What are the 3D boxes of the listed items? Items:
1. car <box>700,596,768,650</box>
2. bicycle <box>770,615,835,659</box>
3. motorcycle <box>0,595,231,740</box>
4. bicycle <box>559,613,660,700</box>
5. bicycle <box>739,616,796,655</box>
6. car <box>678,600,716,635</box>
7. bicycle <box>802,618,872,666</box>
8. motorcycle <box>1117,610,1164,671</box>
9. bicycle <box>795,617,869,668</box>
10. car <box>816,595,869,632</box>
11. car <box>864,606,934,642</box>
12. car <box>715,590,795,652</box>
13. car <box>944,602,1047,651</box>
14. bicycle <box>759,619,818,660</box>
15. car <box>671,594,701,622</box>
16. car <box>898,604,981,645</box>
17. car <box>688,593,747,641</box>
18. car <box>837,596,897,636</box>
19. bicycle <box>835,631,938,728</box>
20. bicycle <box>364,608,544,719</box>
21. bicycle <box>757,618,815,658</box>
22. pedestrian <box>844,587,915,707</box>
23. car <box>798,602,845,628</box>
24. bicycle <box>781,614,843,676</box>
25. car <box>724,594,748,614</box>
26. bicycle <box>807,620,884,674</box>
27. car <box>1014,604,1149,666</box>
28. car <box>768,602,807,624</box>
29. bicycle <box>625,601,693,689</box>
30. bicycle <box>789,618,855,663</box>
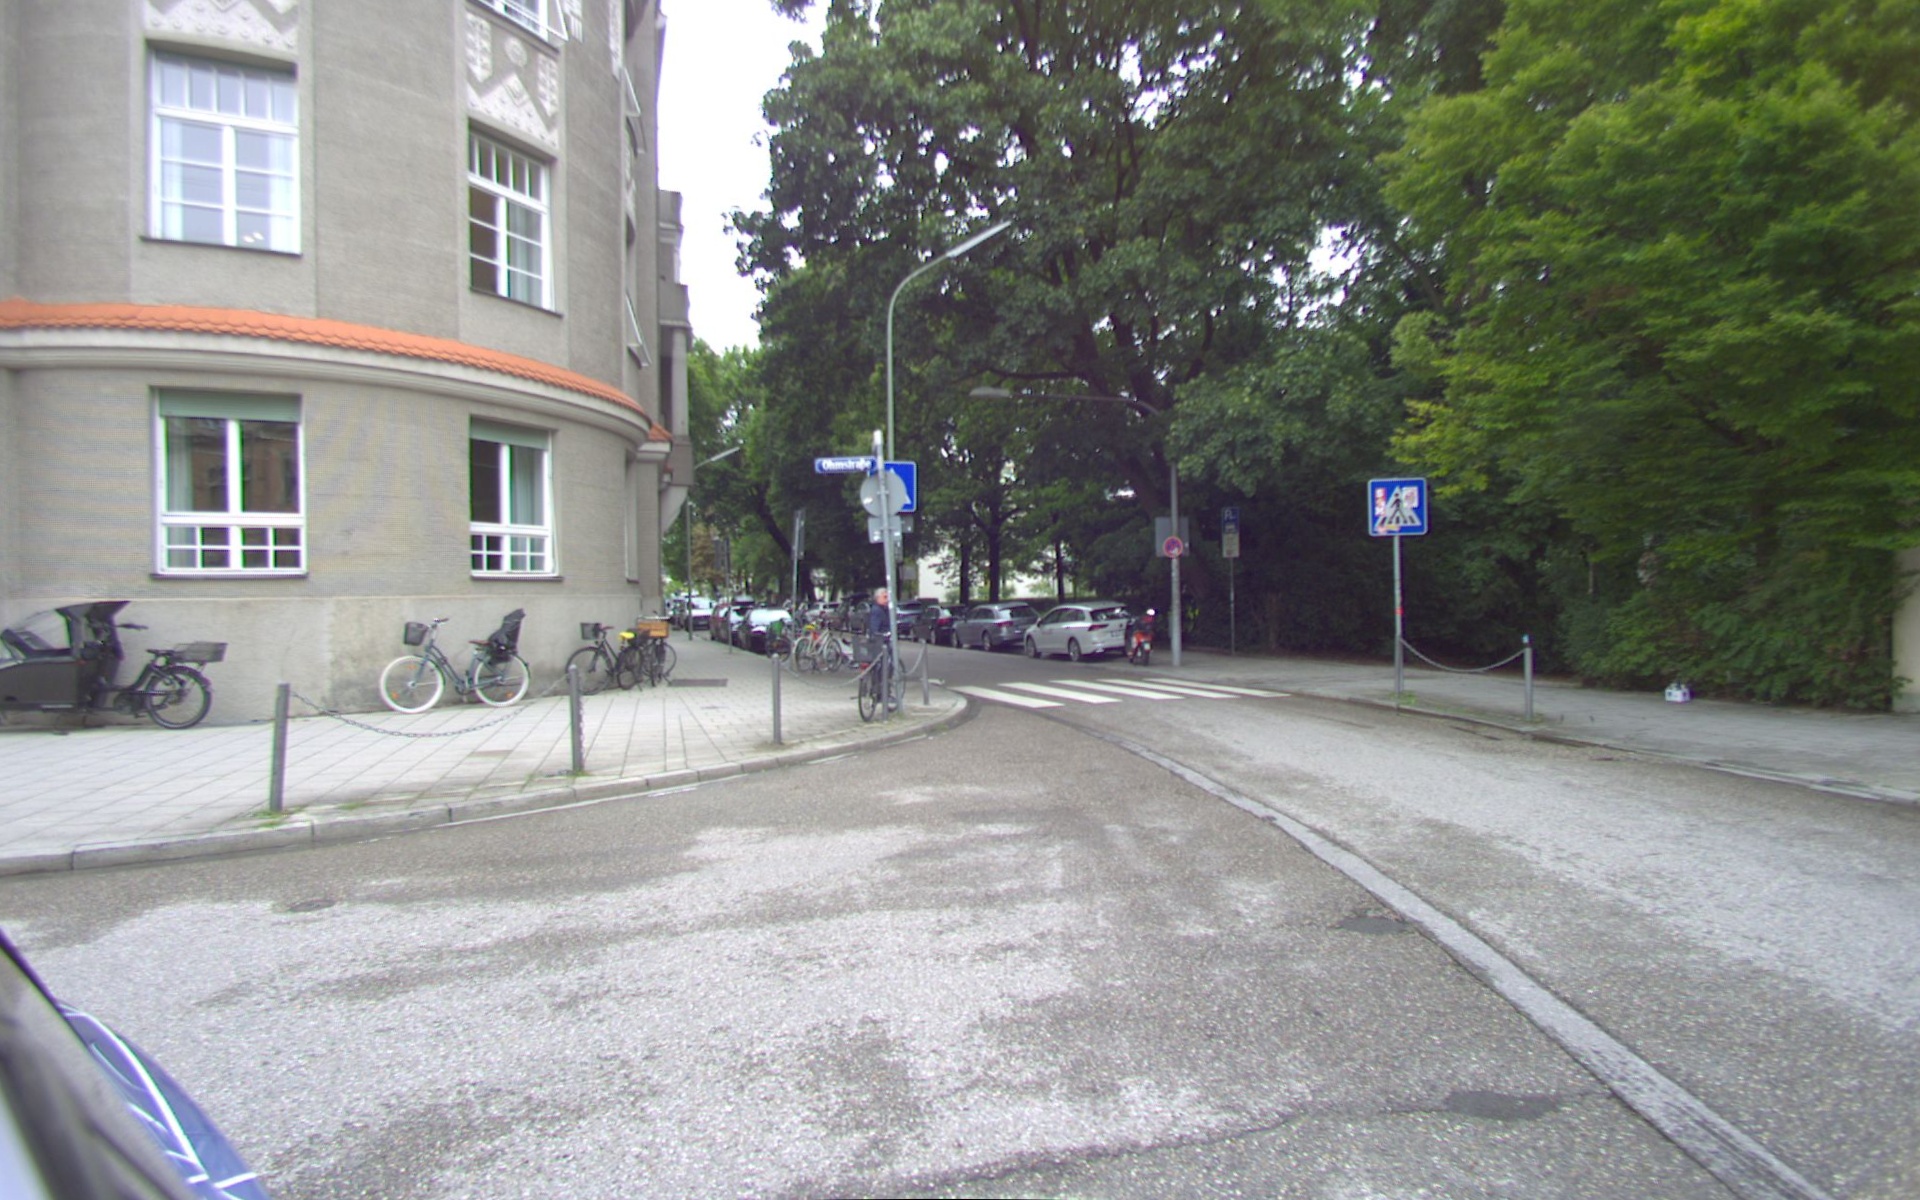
[{"bbox_3d":[-8.903,0.835,39.564,1.965,1.966,4.676,-1,0,-20],"label":"car"},{"bbox_3d":[-4.218,0.991,27.134,1.660,1.156,0.512,-1,0,-1],"label":"bicycle"},{"bbox_3d":[-9.205,0.686,10.850,2.110,1.451,0.740,-1,0,-18],"label":"motorcycle"},{"bbox_3d":[-5.275,0.812,15.349,0.559,1.165,1.920,3,1,10],"label":"bicycle"},{"bbox_3d":[-5.964,1.095,31.411,1.660,1.156,0.512,-1,0,-1],"label":"bicycle"},{"bbox_3d":[-15.581,1.001,59.867,1.966,1.966,4.675,0,0,-17],"label":"car"},{"bbox_3d":[-3.026,1.035,24.953,1.660,1.156,0.512,-1,0,-1],"label":"bicycle"},{"bbox_3d":[3.971,0.859,22.363,0.849,1.192,2.001,-4,0,7],"label":"motorcycle"},{"bbox_3d":[-2.967,0.984,23.580,1.660,1.156,0.466,-1,0,-1],"label":"bicycle"},{"bbox_3d":[-6.285,0.708,53.600,1.746,1.849,4.531,-1,0,-20],"label":"car"},{"bbox_3d":[-2.687,0.993,43.579,1.746,1.443,4.531,-1,0,-20],"label":"car"},{"bbox_3d":[-7.125,0.653,34.804,1.965,1.966,4.676,-1,0,-20],"label":"car"},{"bbox_3d":[1.064,0.830,33.063,1.746,1.443,4.531,-1,0,-20],"label":"car"},{"bbox_3d":[-4.993,1.138,29.518,1.660,1.156,0.512,-1,0,-1],"label":"bicycle"},{"bbox_3d":[-20.558,0.574,75.824,1.966,1.966,4.675,-1,0,-17],"label":"car"},{"bbox_3d":[-0.861,0.901,38.776,1.746,1.443,4.531,-1,0,-20],"label":"car"},{"bbox_3d":[-10.773,0.695,44.739,1.965,1.966,4.676,-1,0,-20],"label":"car"},{"bbox_3d":[-4.506,0.746,48.492,1.746,1.832,4.531,0,0,-20],"label":"car"},{"bbox_3d":[-0.867,0.933,12.501,0.508,1.017,1.995,0,0,20],"label":"bicycle"},{"bbox_3d":[-6.371,0.746,12.817,0.738,1.265,1.899,0,0,43],"label":"bicycle"},{"bbox_3d":[-5.223,1.141,30.440,1.660,1.156,0.512,-1,0,-1],"label":"bicycle"},{"bbox_3d":[-1.139,0.650,14.491,0.721,1.654,0.807,0,0,22],"label":"pedestrian"},{"bbox_3d":[-8.038,0.857,58.368,1.746,1.443,4.531,-1,0,-20],"label":"car"},{"bbox_3d":[-2.940,0.875,20.240,0.508,1.156,1.673,0,0,20],"label":"bicycle"},{"bbox_3d":[-22.228,0.391,100.405,1.966,1.966,4.675,-1,0,-17],"label":"car"},{"bbox_3d":[-2.562,1.051,22.811,1.684,1.156,0.512,-1,0,-1],"label":"bicycle"},{"bbox_3d":[3.094,0.864,26.692,1.597,1.459,4.450,-1,0,-21],"label":"car"},{"bbox_3d":[-11.558,0.858,67.747,1.746,1.443,4.531,-1,0,-20],"label":"car"},{"bbox_3d":[-5.148,0.732,17.437,0.727,1.424,1.928,-1,0,-5],"label":"bicycle"},{"bbox_3d":[-3.588,1.048,26.331,1.660,1.156,0.512,-1,0,-1],"label":"bicycle"}]
